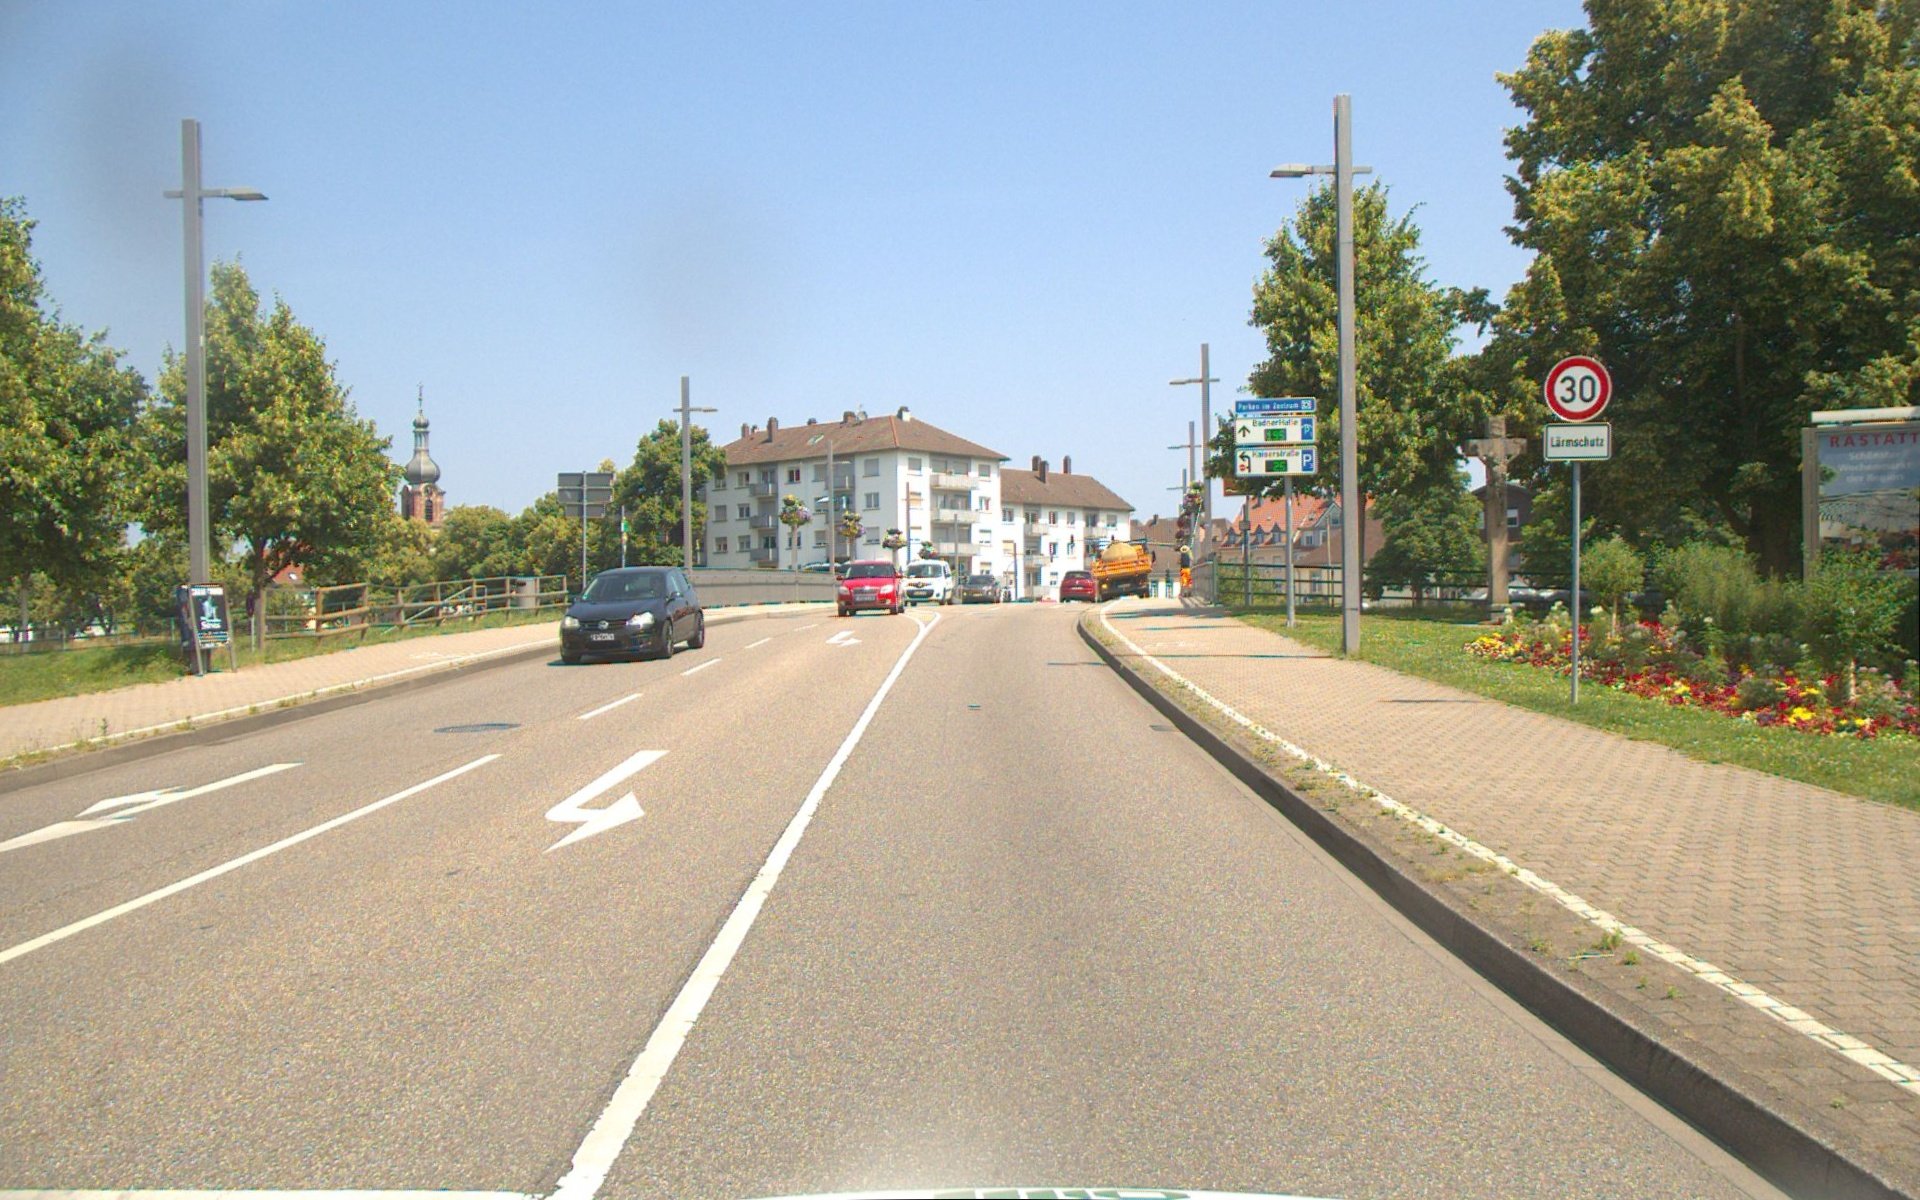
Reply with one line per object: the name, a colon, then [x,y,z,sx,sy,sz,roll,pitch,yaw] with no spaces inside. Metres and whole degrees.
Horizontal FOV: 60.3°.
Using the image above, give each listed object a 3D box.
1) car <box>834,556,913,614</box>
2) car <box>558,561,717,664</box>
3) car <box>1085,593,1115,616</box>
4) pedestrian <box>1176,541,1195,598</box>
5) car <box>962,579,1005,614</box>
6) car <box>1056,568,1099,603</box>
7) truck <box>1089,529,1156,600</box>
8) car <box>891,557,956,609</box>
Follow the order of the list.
car: [-2.337,-0.410,45.459,1.612,1.489,3.863,-1,0,5]
car: [-5.345,0.150,27.914,1.678,1.511,4.033,-2,2,3]
car: [9.874,0.333,116.275,1.995,1.529,4.420,0,-1,7]
pedestrian: [7.982,-1.084,58.598,0.536,1.994,0.672,-1,-1,-2]
car: [1.261,-0.171,85.777,1.700,1.669,3.924,-3,-1,8]
car: [5.829,-0.701,81.684,1.948,1.641,4.345,-2,0,5]
truck: [6.812,-1.415,68.719,2.550,2.738,5.827,-1,0,7]
car: [-1.418,-0.642,65.945,1.798,1.893,4.666,-3,-1,8]
